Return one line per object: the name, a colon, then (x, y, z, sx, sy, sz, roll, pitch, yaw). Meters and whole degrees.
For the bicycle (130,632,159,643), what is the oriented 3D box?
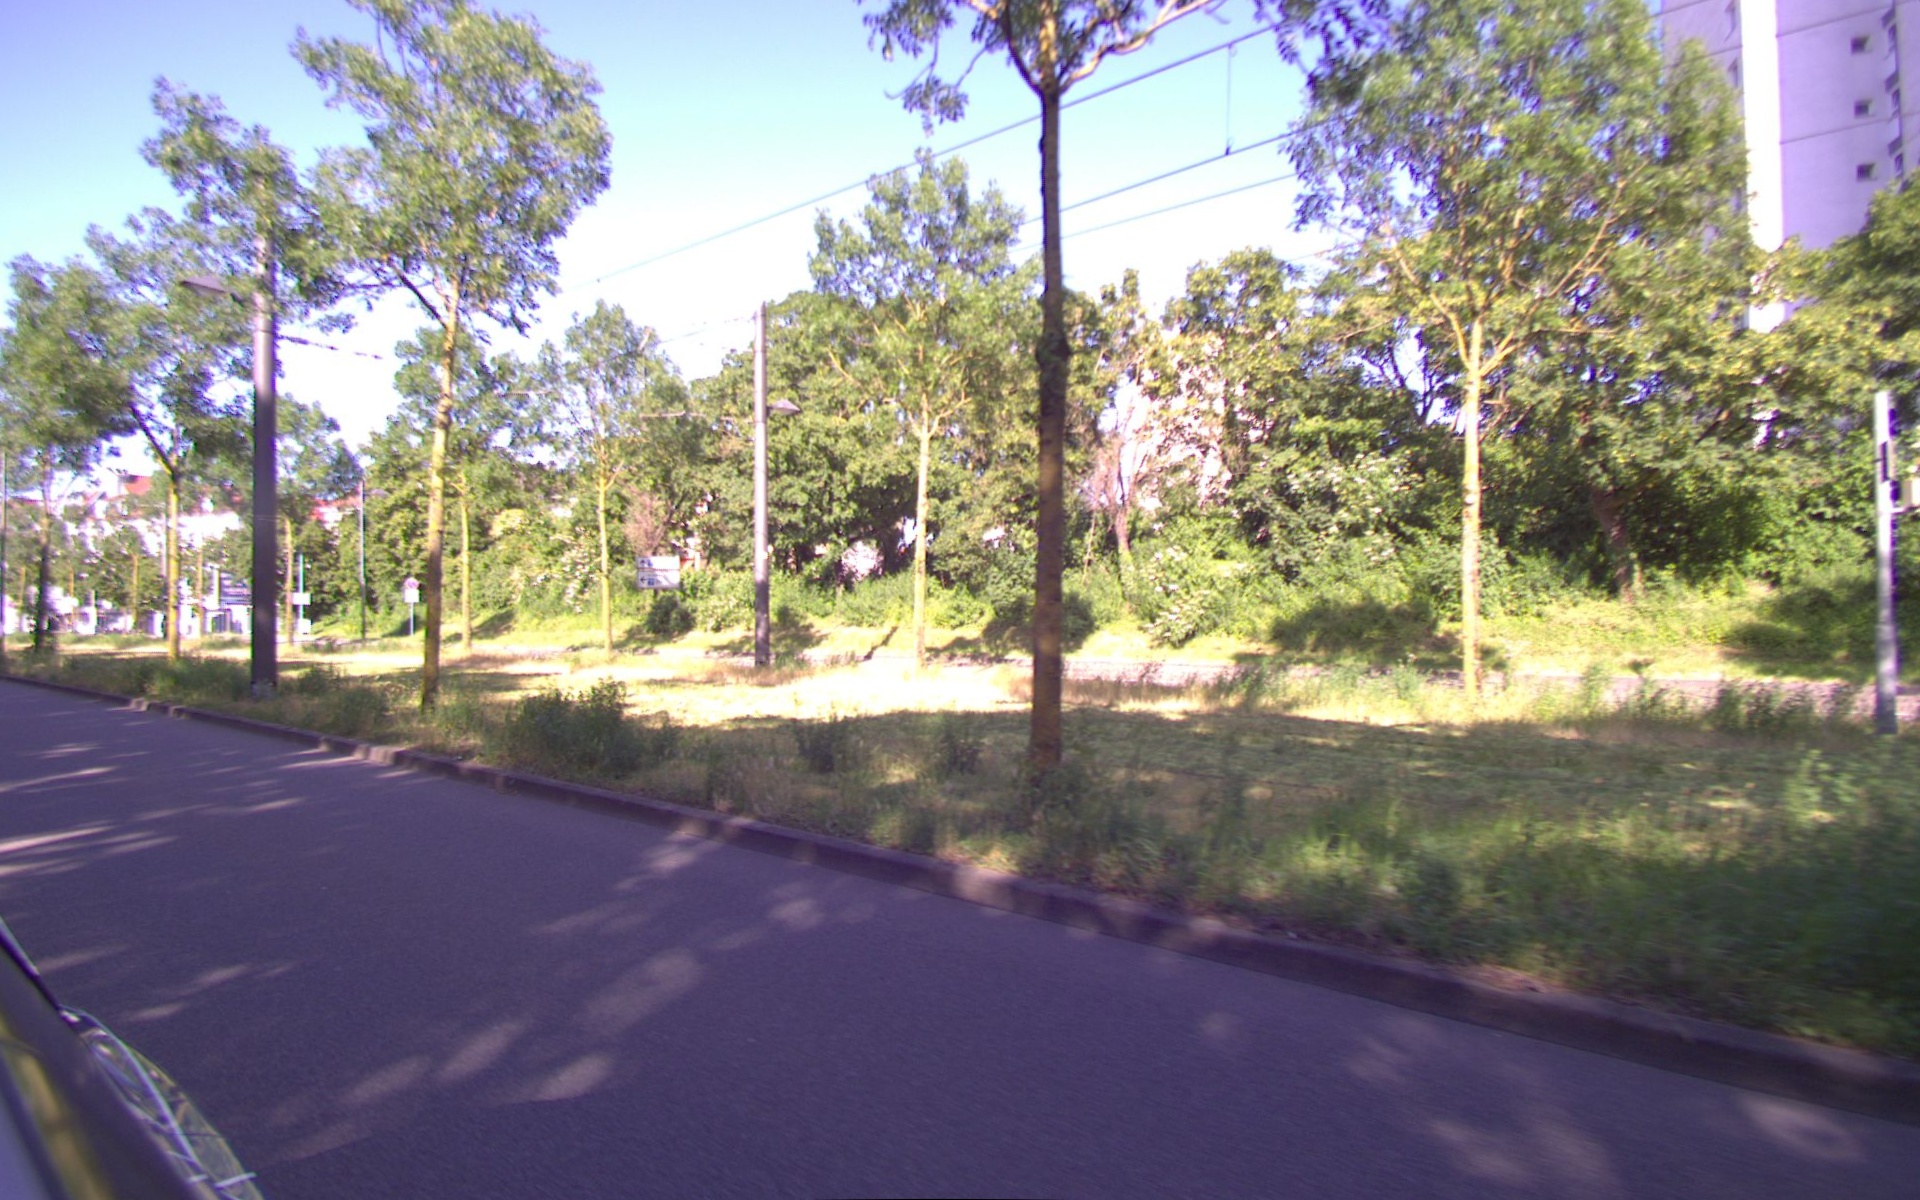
bicycle: (-92.019, 4.265, 114.248, 0.715, 1.222, 2.531, -2, -2, 24)

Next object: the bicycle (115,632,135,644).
bicycle: (-94.070, 4.273, 114.039, 2.537, 1.222, 0.713, -2, -2, 25)
